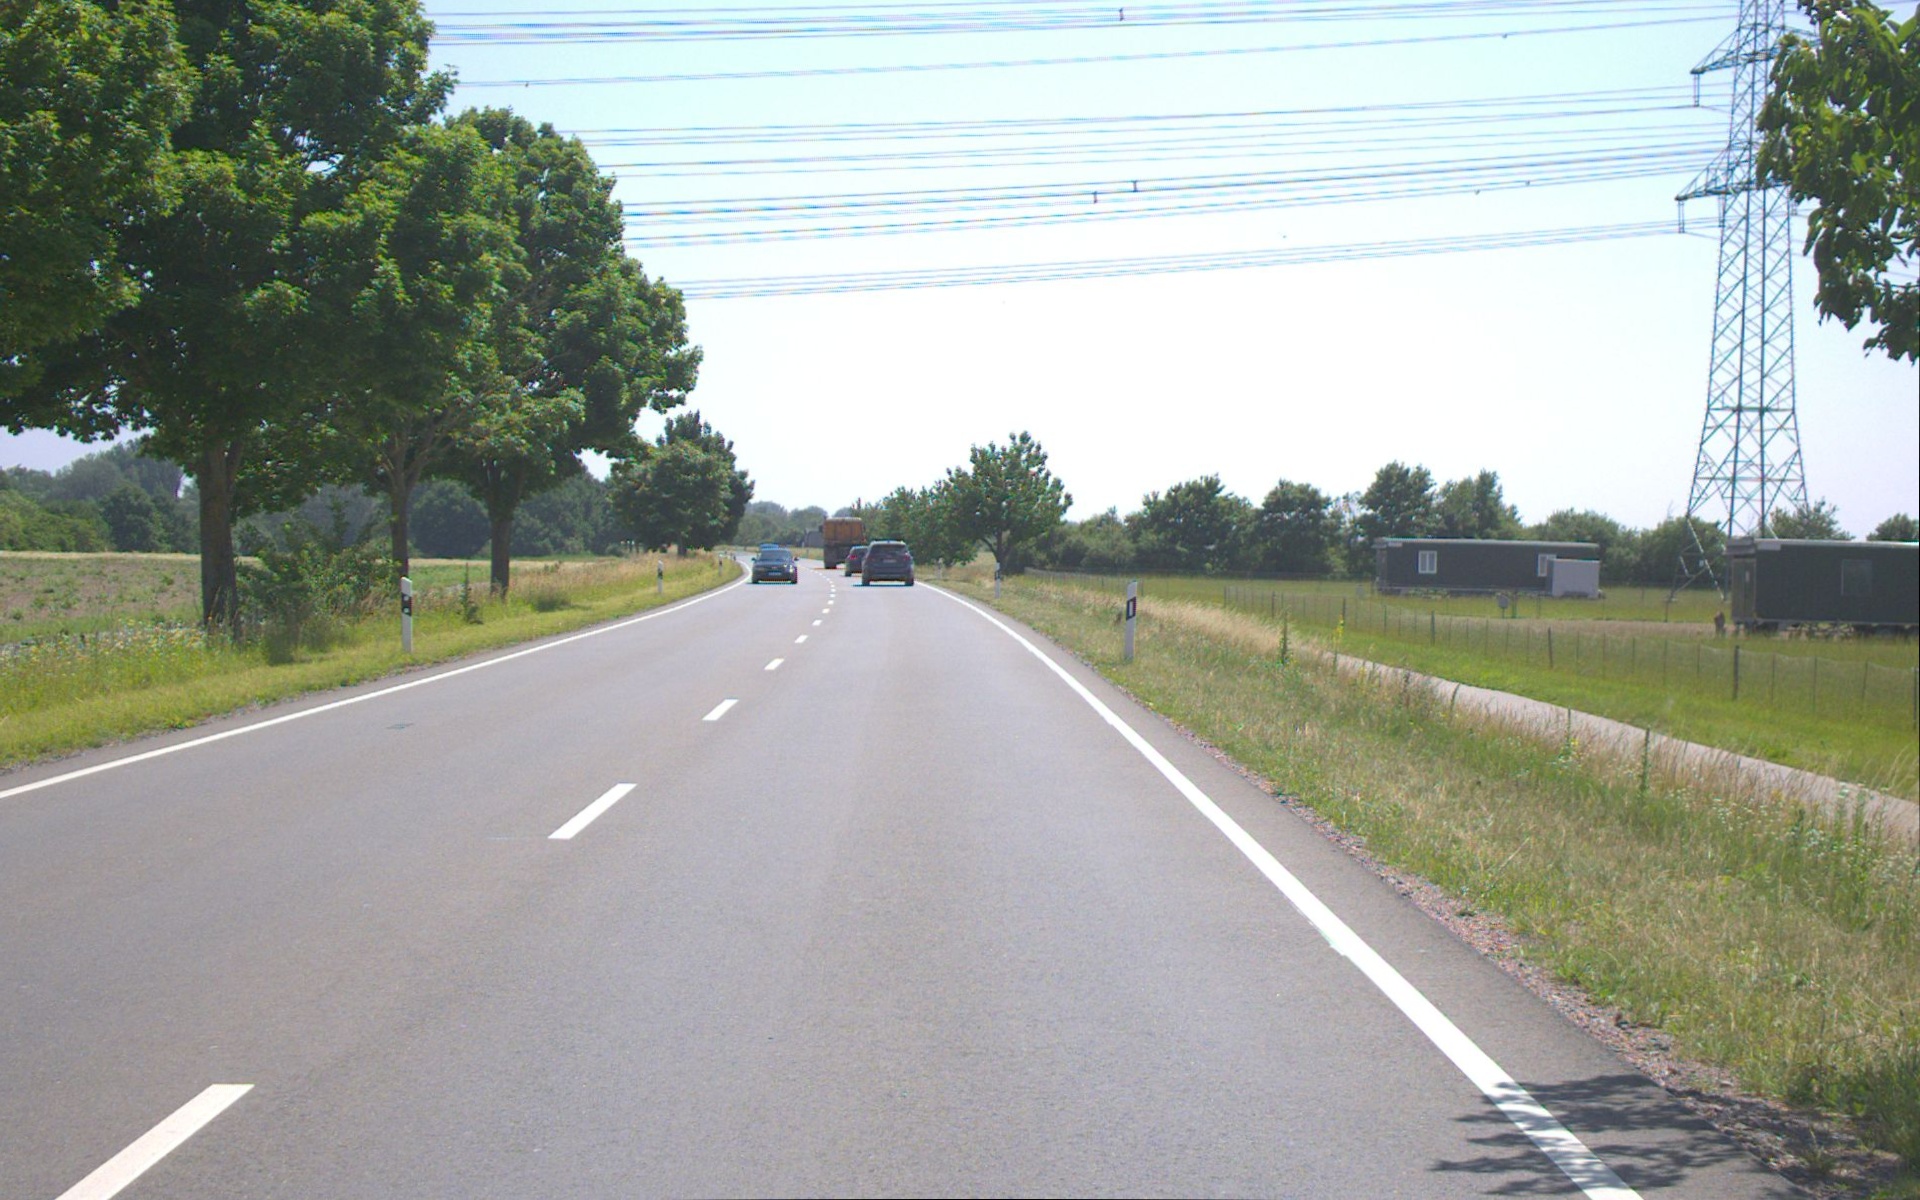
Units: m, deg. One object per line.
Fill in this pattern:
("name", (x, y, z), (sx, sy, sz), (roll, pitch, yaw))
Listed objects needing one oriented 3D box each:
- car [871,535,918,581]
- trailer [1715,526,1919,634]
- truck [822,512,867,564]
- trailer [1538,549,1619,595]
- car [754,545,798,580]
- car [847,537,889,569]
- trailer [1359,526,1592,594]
("car", (-2.469, -1.582, 128.756), (1.714, 1.688, 3.989), (1, 1, -1))
("trailer", (33.069, -0.600, 117.875), (13.508, 3.463, 3.277), (2, 1, -3))
("truck", (-7.176, -3.831, 212.913), (2.370, 3.129, 8.749), (1, 1, -4))
("trailer", (34.610, -1.579, 192.467), (3.986, 2.434, 2.000), (2, 1, -5))
("car", (-7.245, -1.468, 135.277), (1.705, 1.328, 4.001), (1, 1, -3))
("car", (-4.437, -2.256, 165.650), (1.850, 1.517, 4.001), (1, 1, -4))
("trailer", (29.193, -2.266, 195.046), (12.408, 3.461, 3.806), (2, 1, -5))
